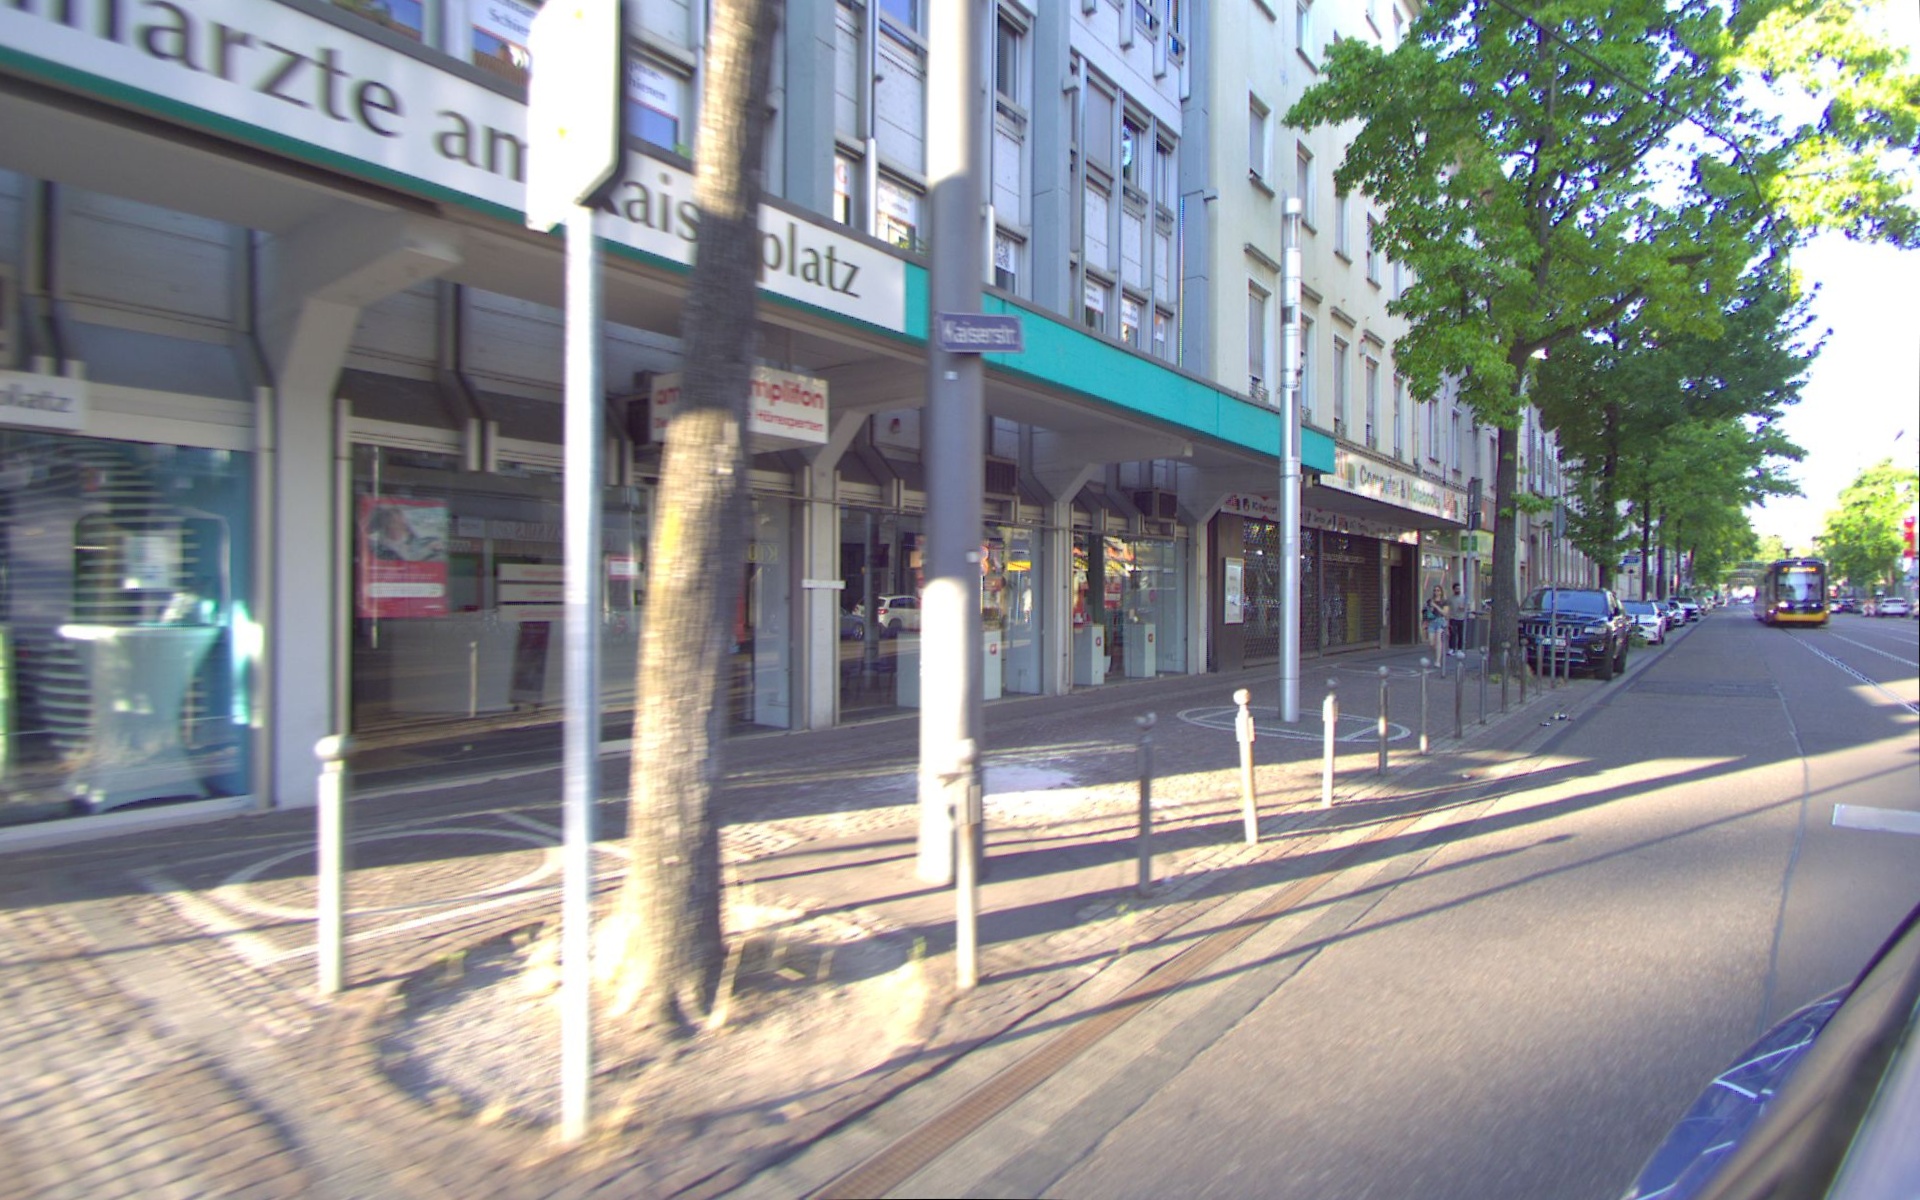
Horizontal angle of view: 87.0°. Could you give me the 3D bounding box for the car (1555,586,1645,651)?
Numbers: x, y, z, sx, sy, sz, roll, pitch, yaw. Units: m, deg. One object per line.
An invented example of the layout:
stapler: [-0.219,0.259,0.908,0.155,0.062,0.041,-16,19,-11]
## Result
car: [18.334,0.477,28.923,1.773,1.610,3.839,5,3,37]

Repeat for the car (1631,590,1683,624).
car: [33.821,0.329,49.034,1.829,1.496,4.697,3,2,37]

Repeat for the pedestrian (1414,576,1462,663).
pedestrian: [9.707,0.390,20.537,0.642,1.690,0.775,4,2,38]

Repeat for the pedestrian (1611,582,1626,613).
pedestrian: [42.237,-0.157,64.914,0.711,1.910,1.038,2,1,38]

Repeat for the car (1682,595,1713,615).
car: [68.670,0.434,94.165,1.950,1.815,4.251,0,0,41]

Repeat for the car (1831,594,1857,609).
car: [97.453,0.157,111.592,1.881,1.632,4.143,3,2,38]

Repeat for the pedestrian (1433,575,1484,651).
pedestrian: [12.165,0.300,24.682,0.857,1.774,0.920,4,2,38]

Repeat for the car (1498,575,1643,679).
car: [12.596,0.470,20.724,1.935,1.780,4.615,5,3,38]

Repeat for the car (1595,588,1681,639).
car: [23.177,0.418,34.533,1.991,1.516,4.614,4,3,39]

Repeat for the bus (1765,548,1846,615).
bus: [57.016,-1.092,68.629,3.600,4.048,17.241,1,0,38]

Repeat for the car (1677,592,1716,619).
car: [50.070,0.343,68.890,1.992,1.708,4.906,3,2,35]

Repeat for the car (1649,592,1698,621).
car: [39.033,0.319,55.333,1.909,1.438,4.820,4,2,38]

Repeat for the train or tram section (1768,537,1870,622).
train or tram section: [46.922,-0.978,55.707,3.591,4.048,15.498,1,0,38]

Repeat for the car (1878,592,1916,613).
car: [82.204,0.213,88.840,1.989,1.777,4.680,-2,-1,37]

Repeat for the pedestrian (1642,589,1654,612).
pedestrian: [47.289,0.027,69.582,0.647,1.593,0.787,0,0,38]
